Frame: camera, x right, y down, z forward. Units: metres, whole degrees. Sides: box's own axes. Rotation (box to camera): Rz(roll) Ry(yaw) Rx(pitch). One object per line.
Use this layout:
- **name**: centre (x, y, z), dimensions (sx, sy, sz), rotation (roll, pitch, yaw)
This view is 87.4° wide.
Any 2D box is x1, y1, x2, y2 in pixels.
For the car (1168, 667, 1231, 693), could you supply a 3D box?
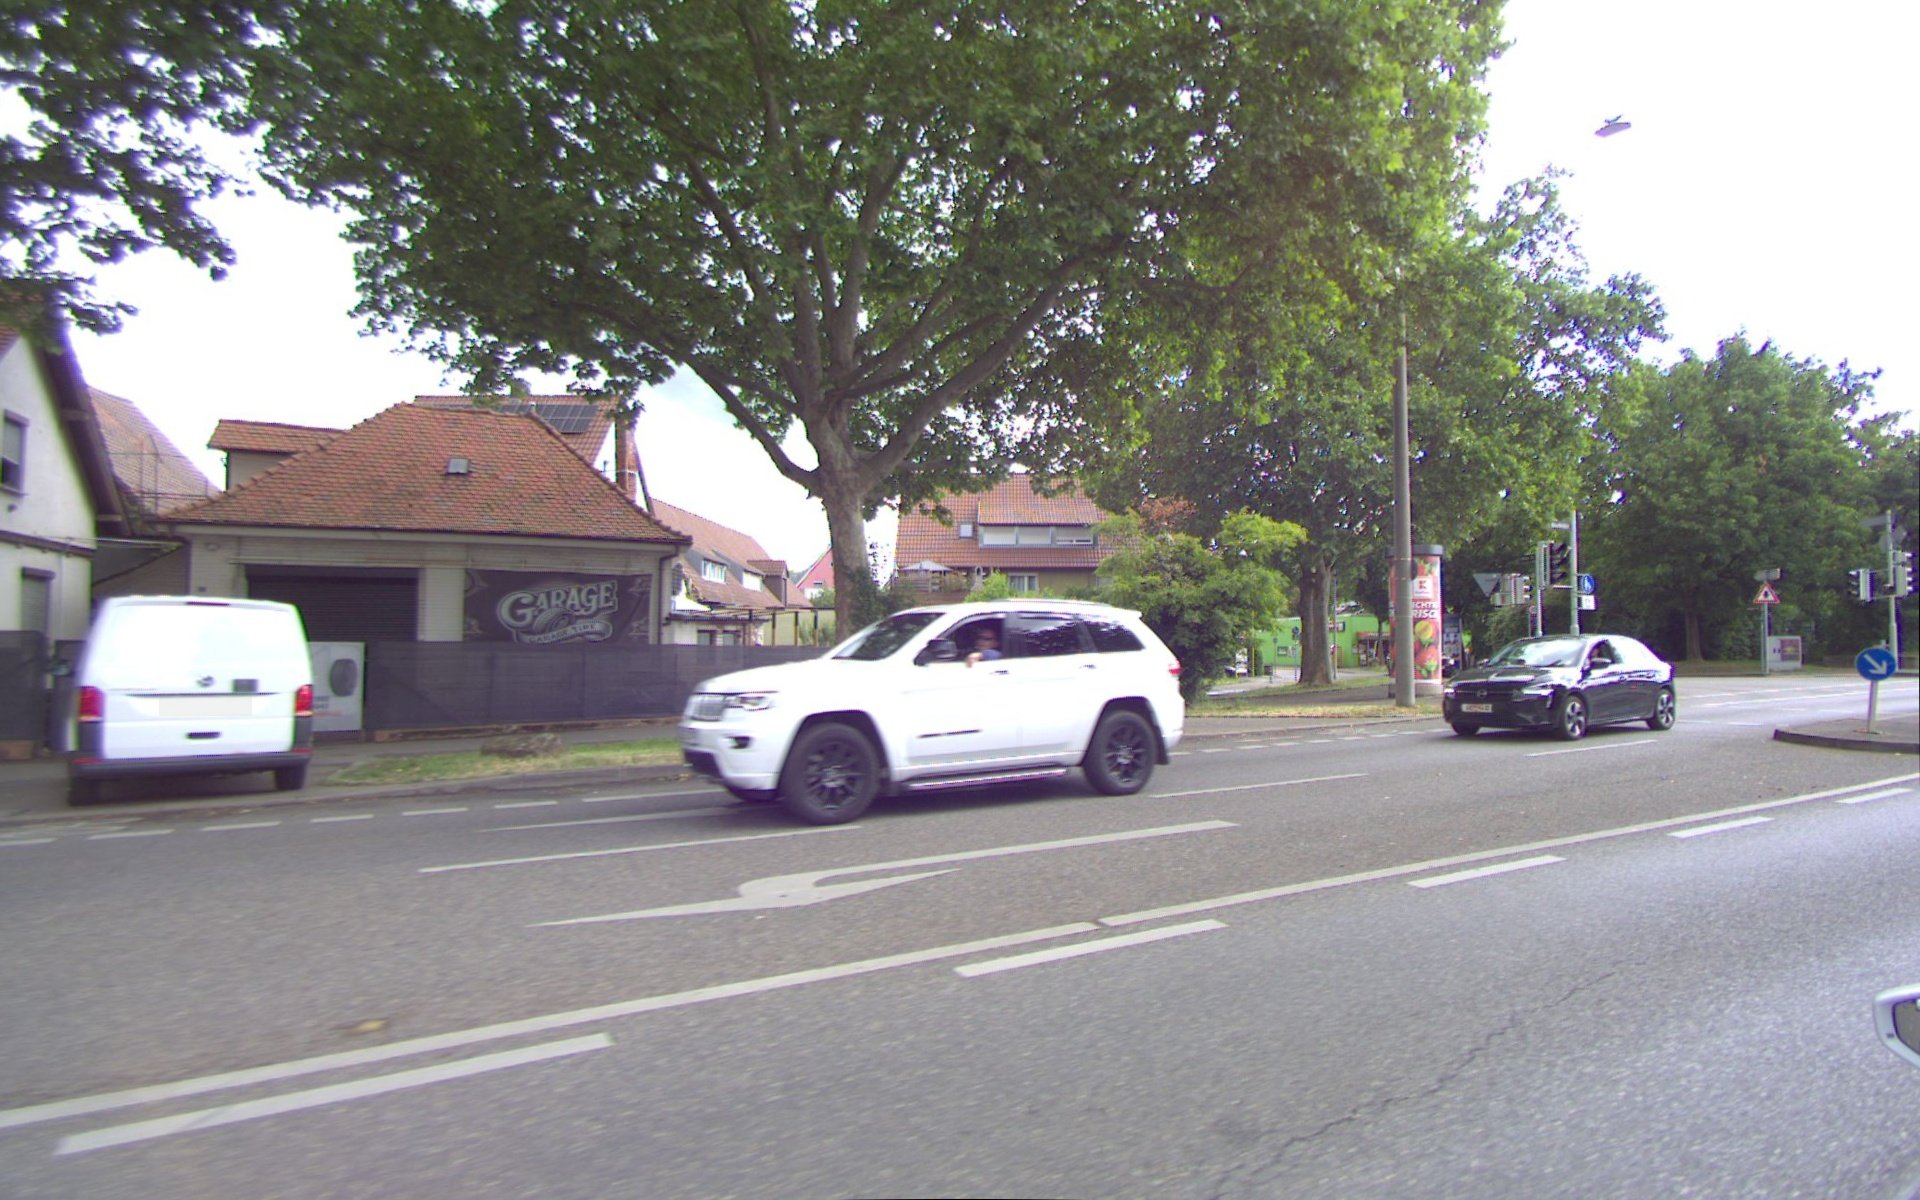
- **car**: centre (15.465, 5.165, 65.038), dimensions (3.658, 1.584, 1.765), rotation (0, -2, 2)

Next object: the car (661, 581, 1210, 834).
- **car**: centre (-0.121, 0.840, 9.149), dimensions (4.697, 1.786, 1.902), rotation (1, -3, -31)

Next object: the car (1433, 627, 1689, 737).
- **car**: centre (8.907, 1.147, 14.818), dimensions (3.904, 1.400, 1.561), rotation (0, -3, -31)

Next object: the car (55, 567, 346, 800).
- **car**: centre (-8.535, 0.908, 11.087), dimensions (2.069, 1.956, 5.181), rotation (3, -6, -42)

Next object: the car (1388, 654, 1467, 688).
- **car**: centre (23.248, 3.490, 50.109), dimensions (1.961, 1.566, 4.271), rotation (1, -2, 0)

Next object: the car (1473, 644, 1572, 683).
- **car**: centre (22.545, 2.524, 40.427), dimensions (1.790, 1.499, 3.855), rotation (0, -3, -1)
